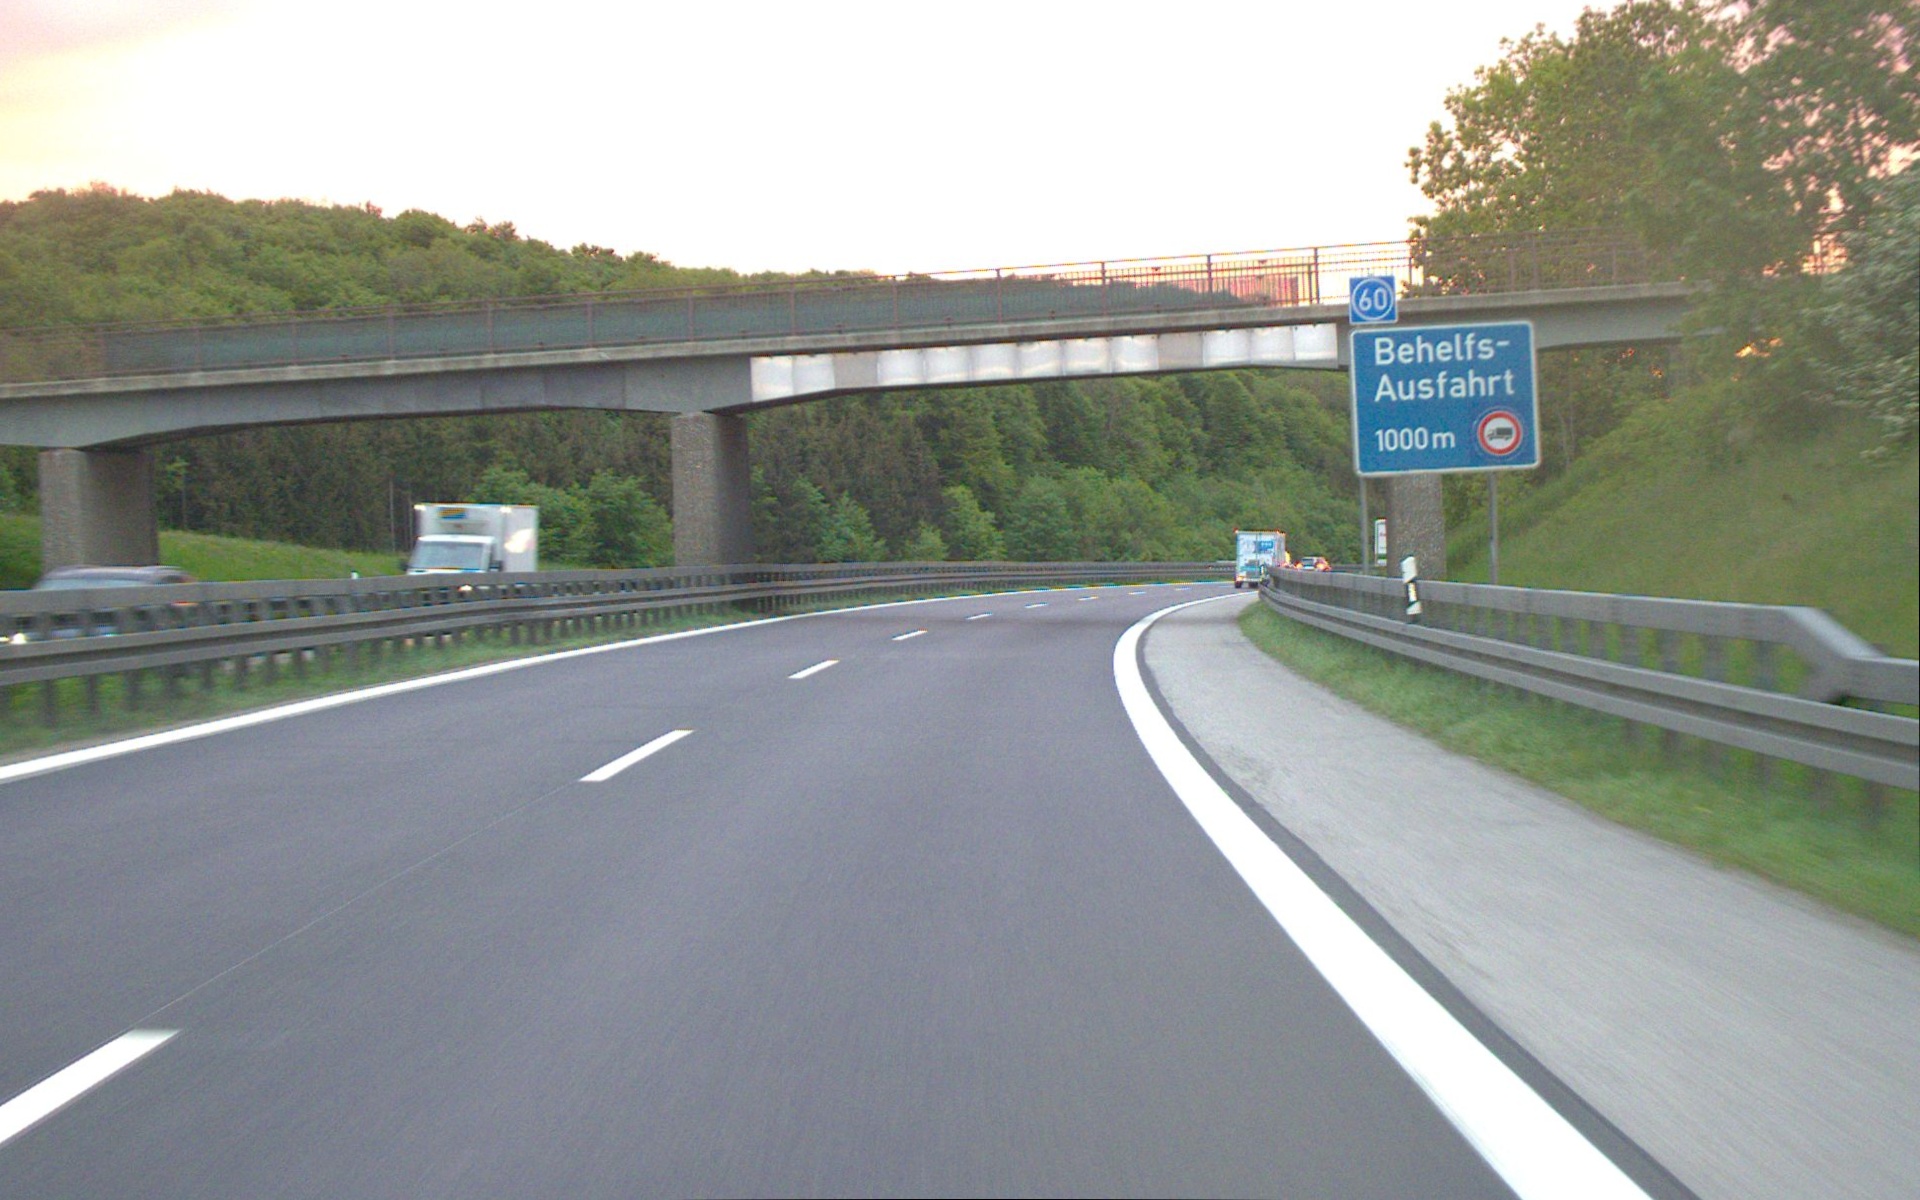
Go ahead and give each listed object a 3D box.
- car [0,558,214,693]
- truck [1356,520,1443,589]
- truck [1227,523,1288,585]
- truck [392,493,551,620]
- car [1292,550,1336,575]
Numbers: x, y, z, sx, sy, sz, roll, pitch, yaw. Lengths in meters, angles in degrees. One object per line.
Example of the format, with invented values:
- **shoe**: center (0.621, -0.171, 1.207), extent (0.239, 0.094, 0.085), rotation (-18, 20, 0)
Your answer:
- **car**: center (-11.642, 0.299, 46.443), extent (1.775, 1.709, 4.637), rotation (0, 1, 5)
- **truck**: center (28.523, -3.000, 222.491), extent (3.960, 4.272, 14.314), rotation (-1, 1, 14)
- **truck**: center (13.834, -2.156, 159.810), extent (2.277, 2.656, 5.234), rotation (-1, 2, 10)
- **truck**: center (-12.420, -1.122, 87.913), extent (2.612, 3.099, 6.668), rotation (1, 1, 4)
- **car**: center (21.895, -2.315, 212.469), extent (1.995, 1.512, 3.997), rotation (0, 1, 17)
